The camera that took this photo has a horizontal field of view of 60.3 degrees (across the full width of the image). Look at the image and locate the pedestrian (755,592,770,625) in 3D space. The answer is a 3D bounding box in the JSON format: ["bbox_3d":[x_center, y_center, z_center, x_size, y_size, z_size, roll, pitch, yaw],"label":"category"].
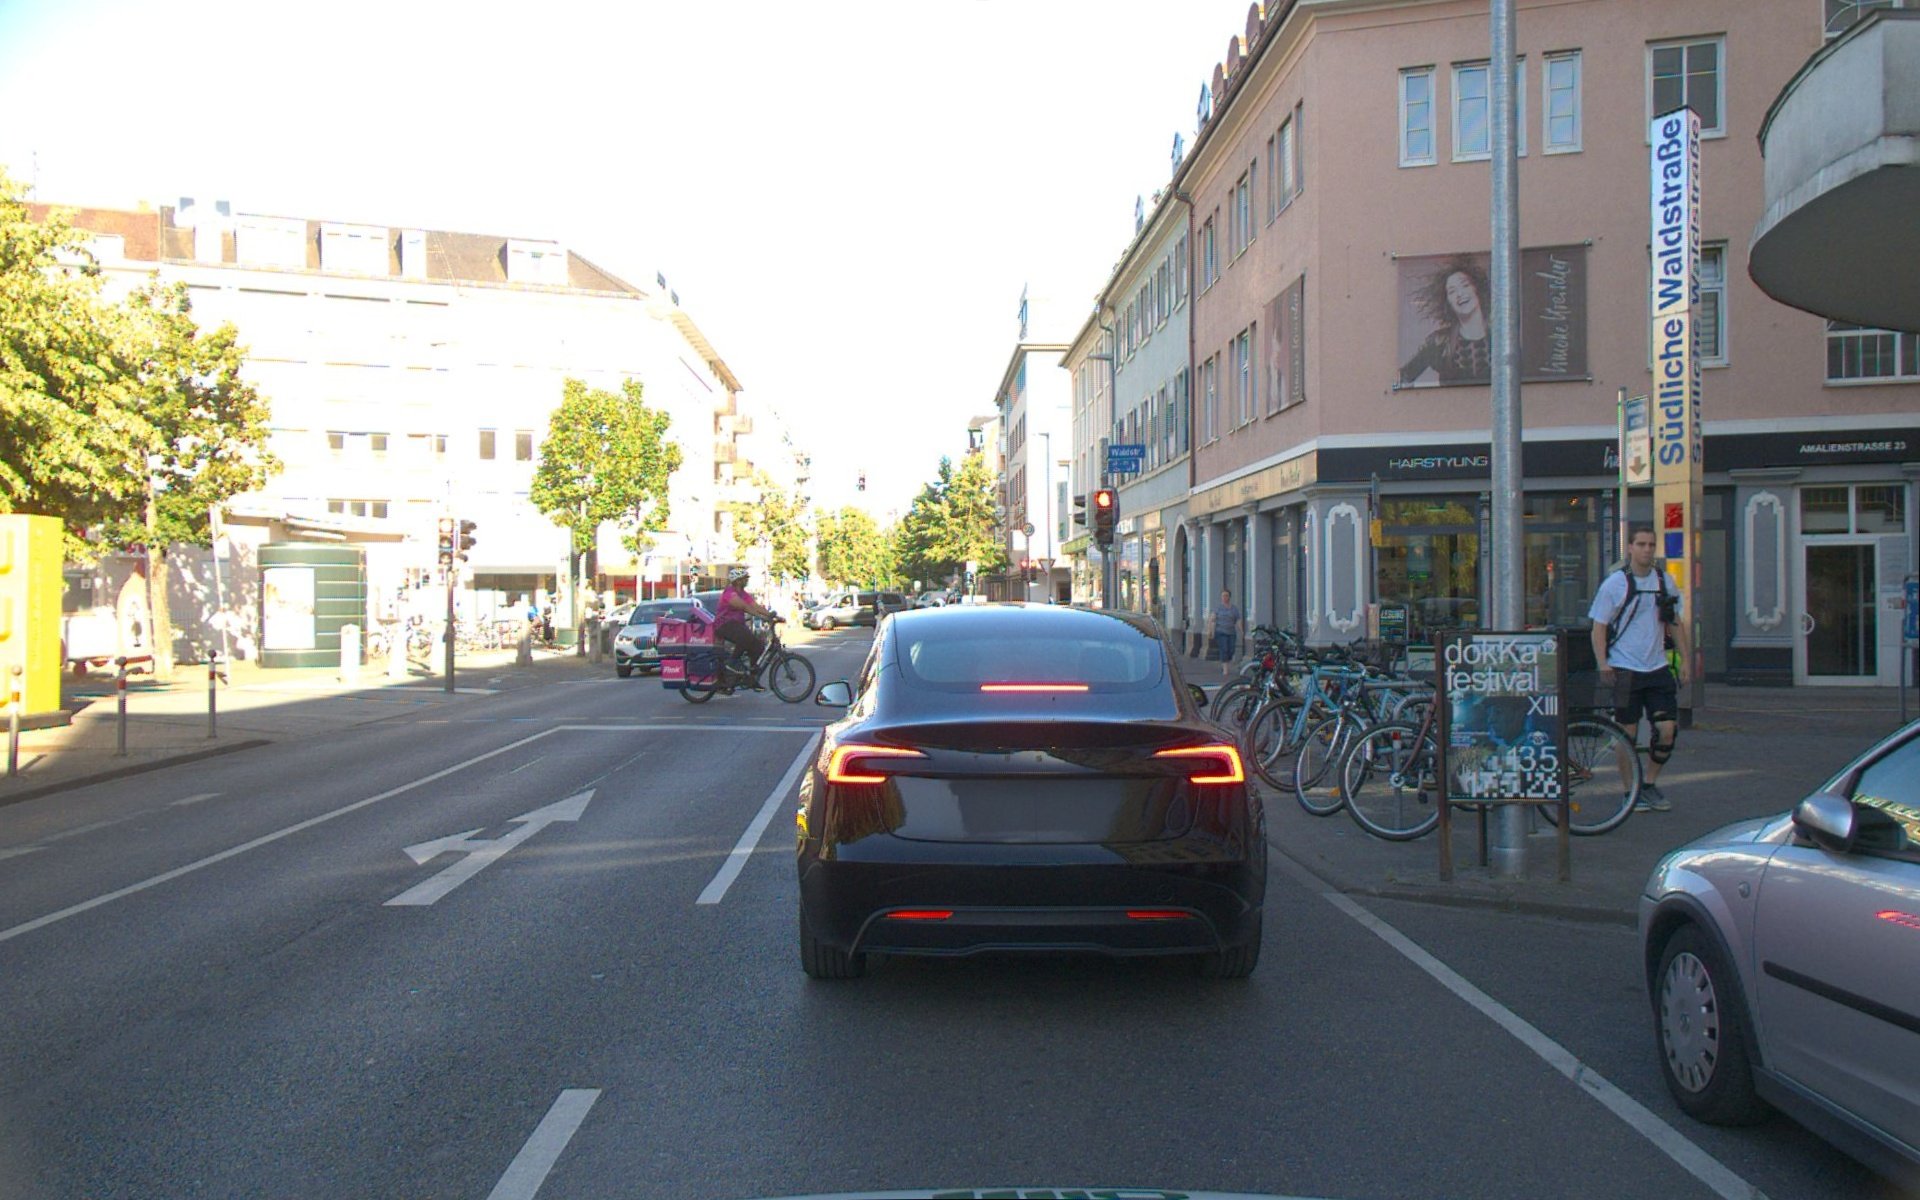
[{"bbox_3d":[-11.550,0.477,96.738,0.721,1.900,0.787,1,-1,-17],"label":"pedestrian"}]

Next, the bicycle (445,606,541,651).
[{"bbox_3d":[-14.008,0.844,49.636,2.609,1.281,0.942,1,0,-4],"label":"bicycle"}]

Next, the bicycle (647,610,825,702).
[{"bbox_3d":[-3.161,0.786,23.436,2.339,1.171,0.713,-2,0,6],"label":"bicycle"}]

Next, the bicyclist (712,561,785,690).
[{"bbox_3d":[-2.988,0.364,23.411,0.845,1.786,0.681,-2,-1,7],"label":"bicyclist"}]

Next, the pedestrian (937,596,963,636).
[{"bbox_3d":[-0.425,0.654,67.744,0.800,1.637,0.700,1,-1,-38],"label":"pedestrian"}]

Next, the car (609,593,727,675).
[{"bbox_3d":[-6.322,0.709,36.230,1.788,1.592,4.299,-4,0,-1],"label":"car"}]

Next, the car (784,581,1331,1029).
[{"bbox_3d":[0.298,0.698,7.764,1.812,1.472,4.450,1,0,-1],"label":"car"}]

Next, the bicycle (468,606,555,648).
[{"bbox_3d":[-14.060,0.849,51.910,2.491,1.273,0.942,1,0,-4],"label":"bicycle"}]

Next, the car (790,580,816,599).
[{"bbox_3d":[-17.011,-1.133,179.399,2.228,2.049,4.717,1,0,0],"label":"car"}]

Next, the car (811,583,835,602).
[{"bbox_3d":[-15.594,-0.821,188.055,2.228,2.049,4.717,1,0,0],"label":"car"}]

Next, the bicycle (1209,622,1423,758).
[{"bbox_3d":[3.161,0.789,14.769,1.776,1.172,0.653,0,0,0],"label":"bicycle"}]

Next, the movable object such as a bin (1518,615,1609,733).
[{"bbox_3d":[6.044,0.729,16.587,0.623,1.122,0.728,-2,0,3],"label":"movable object such as a bin"}]

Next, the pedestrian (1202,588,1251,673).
[{"bbox_3d":[5.010,0.568,31.126,0.773,1.576,0.724,1,-1,0],"label":"pedestrian"}]

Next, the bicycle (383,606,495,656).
[{"bbox_3d":[-14.123,0.842,44.916,2.725,1.296,0.932,1,0,-4],"label":"bicycle"}]

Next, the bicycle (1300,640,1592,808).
[{"bbox_3d":[3.249,0.820,11.155,1.776,1.078,0.653,0,0,0],"label":"bicycle"}]

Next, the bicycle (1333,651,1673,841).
[{"bbox_3d":[3.278,0.872,10.083,1.844,1.062,0.653,-1,0,0],"label":"bicycle"}]

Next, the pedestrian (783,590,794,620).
[{"bbox_3d":[-10.763,0.310,103.707,0.681,1.900,0.658,1,-1,-6],"label":"pedestrian"}]

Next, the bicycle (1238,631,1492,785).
[{"bbox_3d":[3.049,0.802,12.559,1.776,1.121,0.653,0,0,0],"label":"bicycle"}]

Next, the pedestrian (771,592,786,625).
[{"bbox_3d":[-10.646,0.493,96.985,0.721,1.900,0.787,1,-1,-17],"label":"pedestrian"}]

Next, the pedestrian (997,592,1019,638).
[{"bbox_3d":[2.008,0.630,68.701,0.692,1.910,0.809,1,-1,19],"label":"pedestrian"}]

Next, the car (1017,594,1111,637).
[{"bbox_3d":[4.715,0.699,74.733,3.937,1.900,1.686,0,0,-22],"label":"car"}]

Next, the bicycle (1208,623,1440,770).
[{"bbox_3d":[2.978,0.781,13.632,1.776,1.172,0.653,0,0,0],"label":"bicycle"}]

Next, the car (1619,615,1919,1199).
[{"bbox_3d":[2.920,0.779,3.529,1.551,1.451,3.579,1,0,-1],"label":"car"}]

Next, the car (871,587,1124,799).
[{"bbox_3d":[0.242,0.684,14.188,1.812,1.507,4.450,1,0,-1],"label":"car"}]

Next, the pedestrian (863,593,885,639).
[{"bbox_3d":[-3.368,0.626,64.892,0.649,1.790,0.649,1,-1,-24],"label":"pedestrian"}]

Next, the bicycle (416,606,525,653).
[{"bbox_3d":[-13.999,0.829,47.317,2.818,1.292,0.942,1,0,-4],"label":"bicycle"}]

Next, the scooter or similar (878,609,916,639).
[{"bbox_3d":[-2.497,0.952,65.388,1.317,1.154,0.803,1,-1,-25],"label":"scooter or similar"}]

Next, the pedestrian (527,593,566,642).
[{"bbox_3d":[-14.087,0.601,56.314,1.078,1.639,1.258,1,0,-23],"label":"pedestrian"}]

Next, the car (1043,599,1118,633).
[{"bbox_3d":[6.593,0.869,90.285,3.908,1.819,2.044,0,0,11],"label":"car"}]

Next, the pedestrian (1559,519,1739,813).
[{"bbox_3d":[4.562,0.422,11.016,0.792,1.855,0.983,1,0,2],"label":"pedestrian"}]

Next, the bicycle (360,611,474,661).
[{"bbox_3d":[-13.949,0.924,42.579,2.607,1.216,0.942,1,0,-4],"label":"bicycle"}]

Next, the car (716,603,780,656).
[{"bbox_3d":[-6.334,0.852,49.684,1.431,1.455,3.605,-3,0,-1],"label":"car"}]

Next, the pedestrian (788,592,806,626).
[{"bbox_3d":[-9.302,0.506,94.383,0.719,1.900,0.790,1,-1,28],"label":"pedestrian"}]

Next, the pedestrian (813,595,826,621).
[{"bbox_3d":[-10.251,0.598,120.584,0.686,1.900,0.903,1,-1,-24],"label":"pedestrian"}]

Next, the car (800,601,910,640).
[{"bbox_3d":[-5.201,1.004,82.004,5.124,1.899,1.871,0,0,-23],"label":"car"}]

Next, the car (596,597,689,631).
[{"bbox_3d":[-14.771,0.652,77.029,4.062,1.557,1.541,0,0,-22],"label":"car"}]

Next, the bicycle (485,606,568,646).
[{"bbox_3d":[-14.226,0.856,54.332,2.491,1.273,0.942,1,0,-4],"label":"bicycle"}]

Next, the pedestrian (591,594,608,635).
[{"bbox_3d":[-13.982,0.563,64.105,0.613,1.550,0.577,1,-1,-14],"label":"pedestrian"}]

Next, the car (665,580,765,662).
[{"bbox_3d":[-6.230,0.504,42.558,1.906,1.981,4.819,0,0,-1],"label":"car"}]

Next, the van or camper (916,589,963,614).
[{"bbox_3d":[-2.062,0.166,167.512,4.752,2.481,1.850,0,0,-1],"label":"van or camper"}]
